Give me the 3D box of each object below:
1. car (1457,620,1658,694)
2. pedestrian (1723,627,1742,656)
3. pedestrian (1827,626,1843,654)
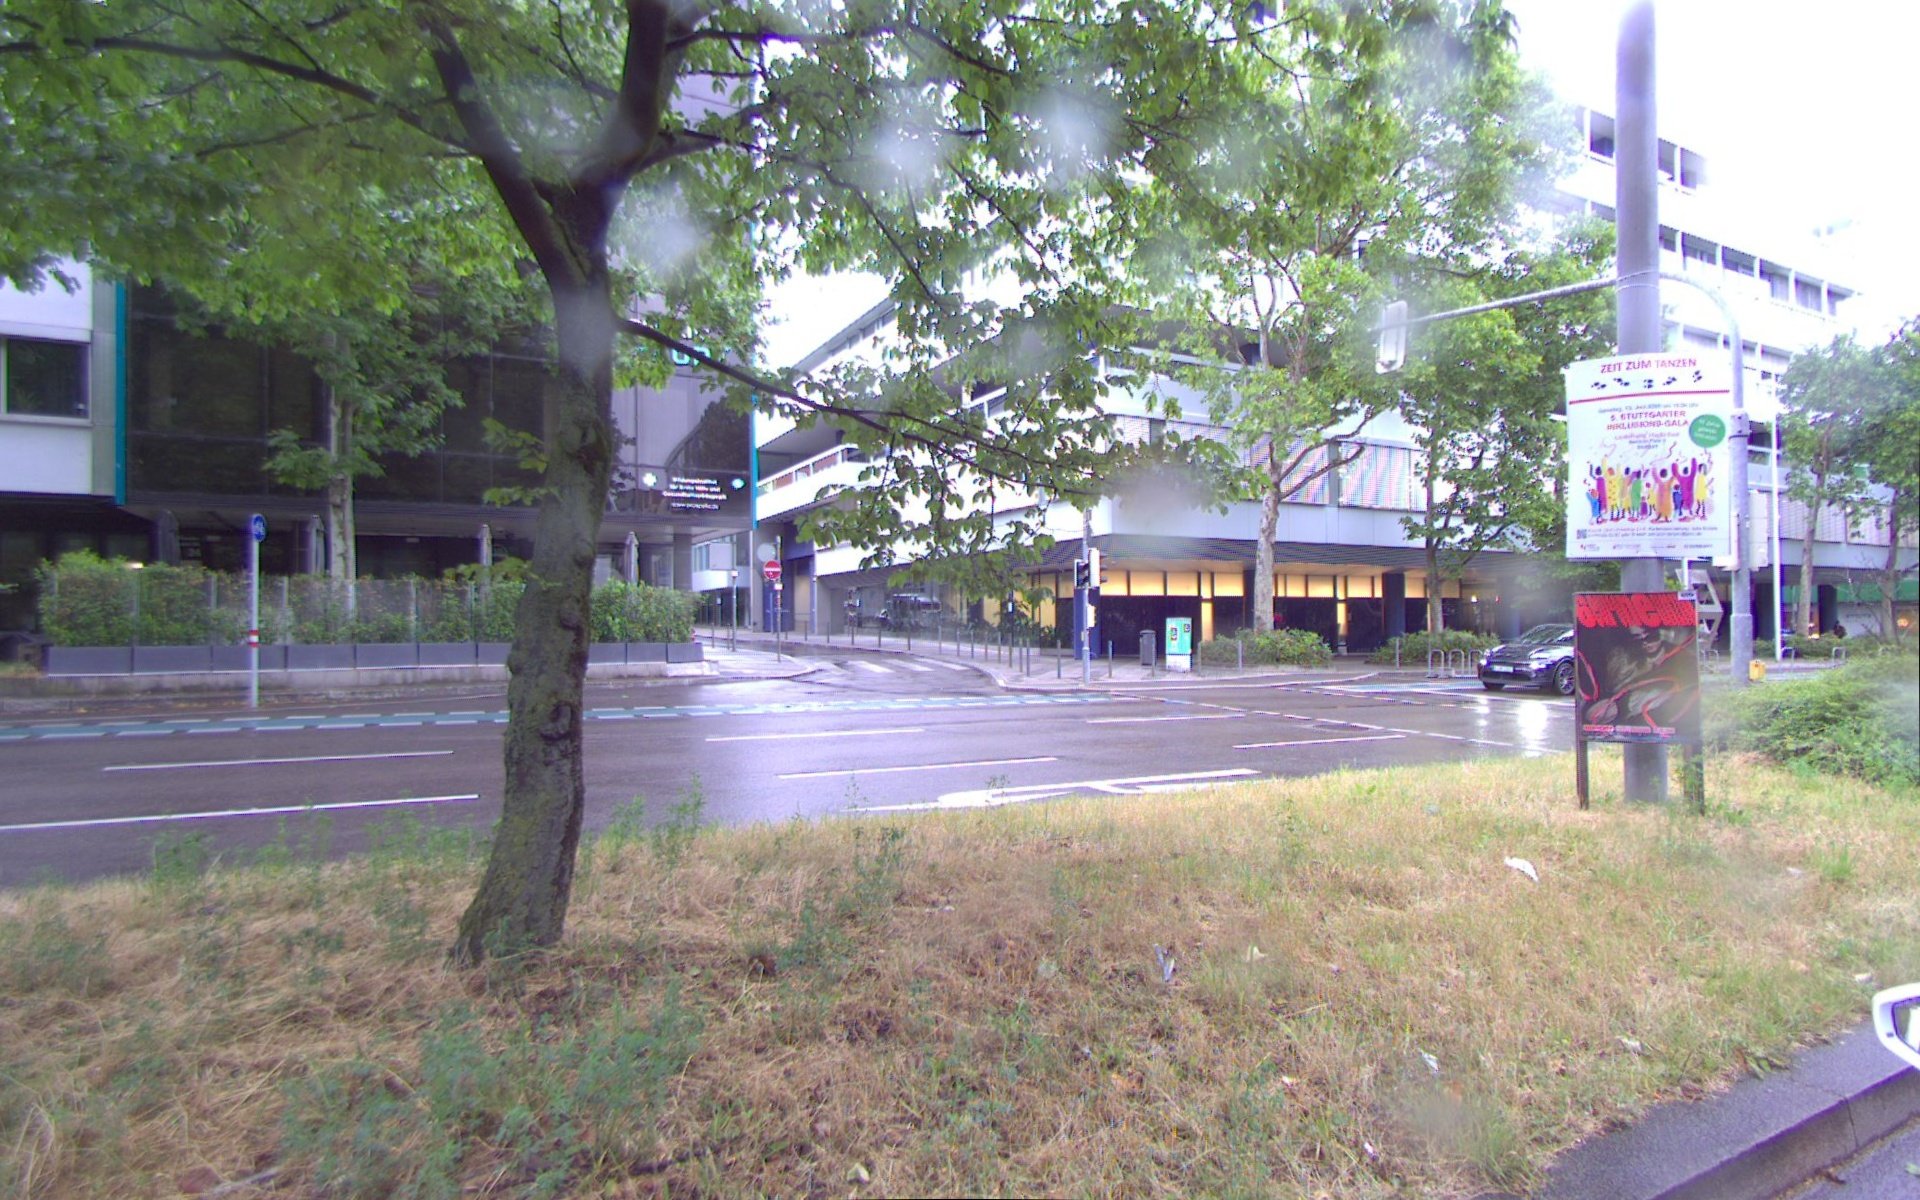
[{"bbox_3d":[14.467,1.362,24.293,4.683,1.605,1.903,2,0,-26],"label":"car"},{"bbox_3d":[38.464,2.058,50.011,0.470,1.398,0.632,2,0,-40],"label":"pedestrian"},{"bbox_3d":[49.088,2.236,56.346,0.570,1.502,0.604,2,0,-40],"label":"pedestrian"}]
